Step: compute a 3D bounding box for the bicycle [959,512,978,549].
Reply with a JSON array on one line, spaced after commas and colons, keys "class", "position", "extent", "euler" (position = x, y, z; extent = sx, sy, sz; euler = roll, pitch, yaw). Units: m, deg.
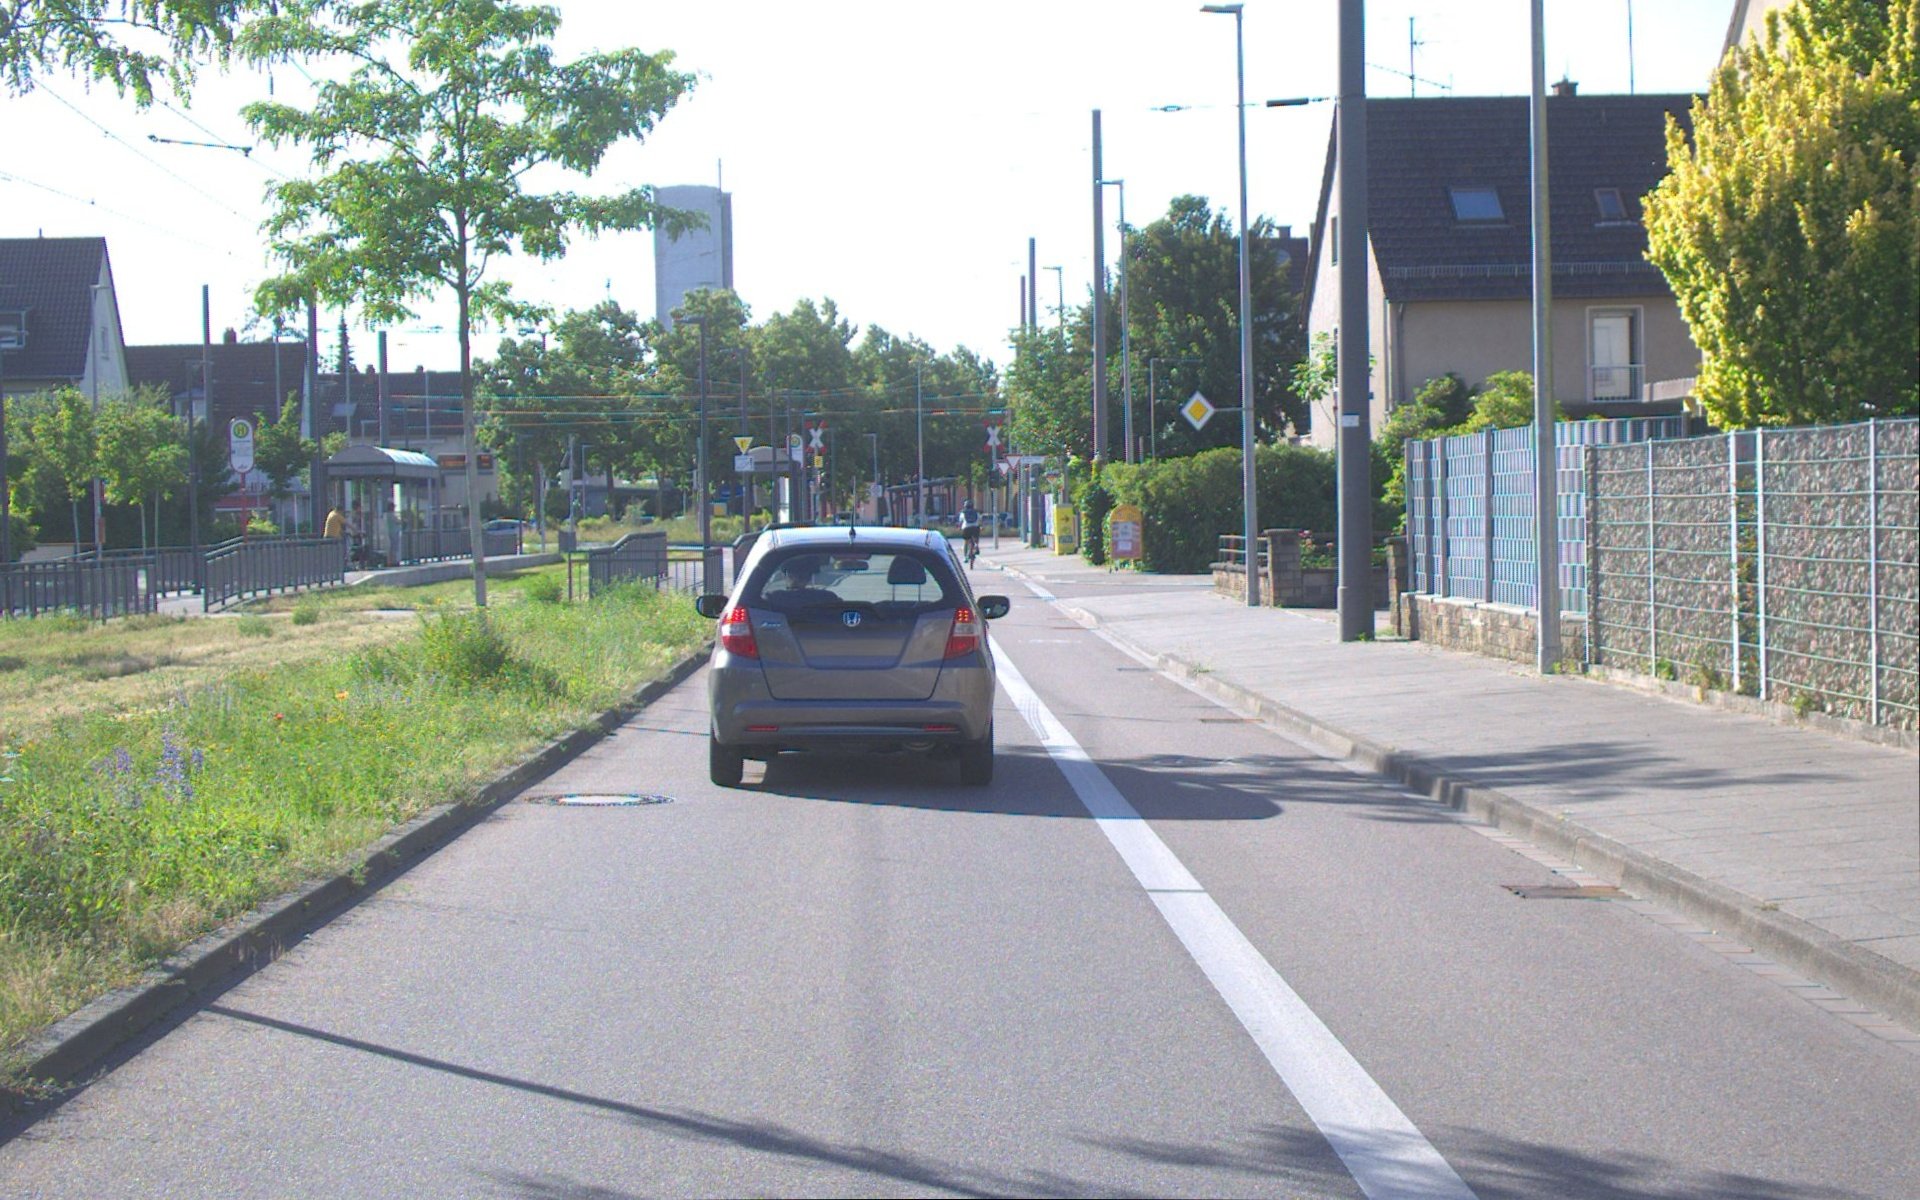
[{"class": "bicycle", "position": [0.224, -1.841, 90.961], "extent": [0.475, 0.958, 1.657], "euler": [0, 1, -1]}]

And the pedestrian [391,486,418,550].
[{"class": "pedestrian", "position": [-14.901, -2.204, 92.228], "extent": [0.500, 1.690, 0.771], "euler": [-3, 2, 0]}]

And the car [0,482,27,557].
[{"class": "car", "position": [-26.725, -2.124, 90.501], "extent": [3.986, 1.963, 1.933], "euler": [0, 1, -8]}]

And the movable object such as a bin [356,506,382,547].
[{"class": "movable object such as a bin", "position": [-14.285, -1.774, 83.072], "extent": [0.546, 0.984, 0.741], "euler": [-1, 2, -5]}]

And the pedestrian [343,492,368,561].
[{"class": "pedestrian", "position": [-14.947, -1.816, 84.958], "extent": [0.519, 1.702, 0.581], "euler": [-1, 2, -5]}]

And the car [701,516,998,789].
[{"class": "car", "position": [-0.680, 0.262, 21.233], "extent": [1.670, 1.530, 3.487], "euler": [1, 1, -2]}]

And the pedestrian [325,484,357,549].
[{"class": "pedestrian", "position": [-14.945, -2.018, 82.991], "extent": [0.675, 1.530, 0.749], "euler": [-1, 2, -5]}]

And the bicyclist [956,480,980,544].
[{"class": "bicyclist", "position": [0.214, -2.325, 90.796], "extent": [0.598, 1.695, 0.683], "euler": [0, 1, -1]}]
